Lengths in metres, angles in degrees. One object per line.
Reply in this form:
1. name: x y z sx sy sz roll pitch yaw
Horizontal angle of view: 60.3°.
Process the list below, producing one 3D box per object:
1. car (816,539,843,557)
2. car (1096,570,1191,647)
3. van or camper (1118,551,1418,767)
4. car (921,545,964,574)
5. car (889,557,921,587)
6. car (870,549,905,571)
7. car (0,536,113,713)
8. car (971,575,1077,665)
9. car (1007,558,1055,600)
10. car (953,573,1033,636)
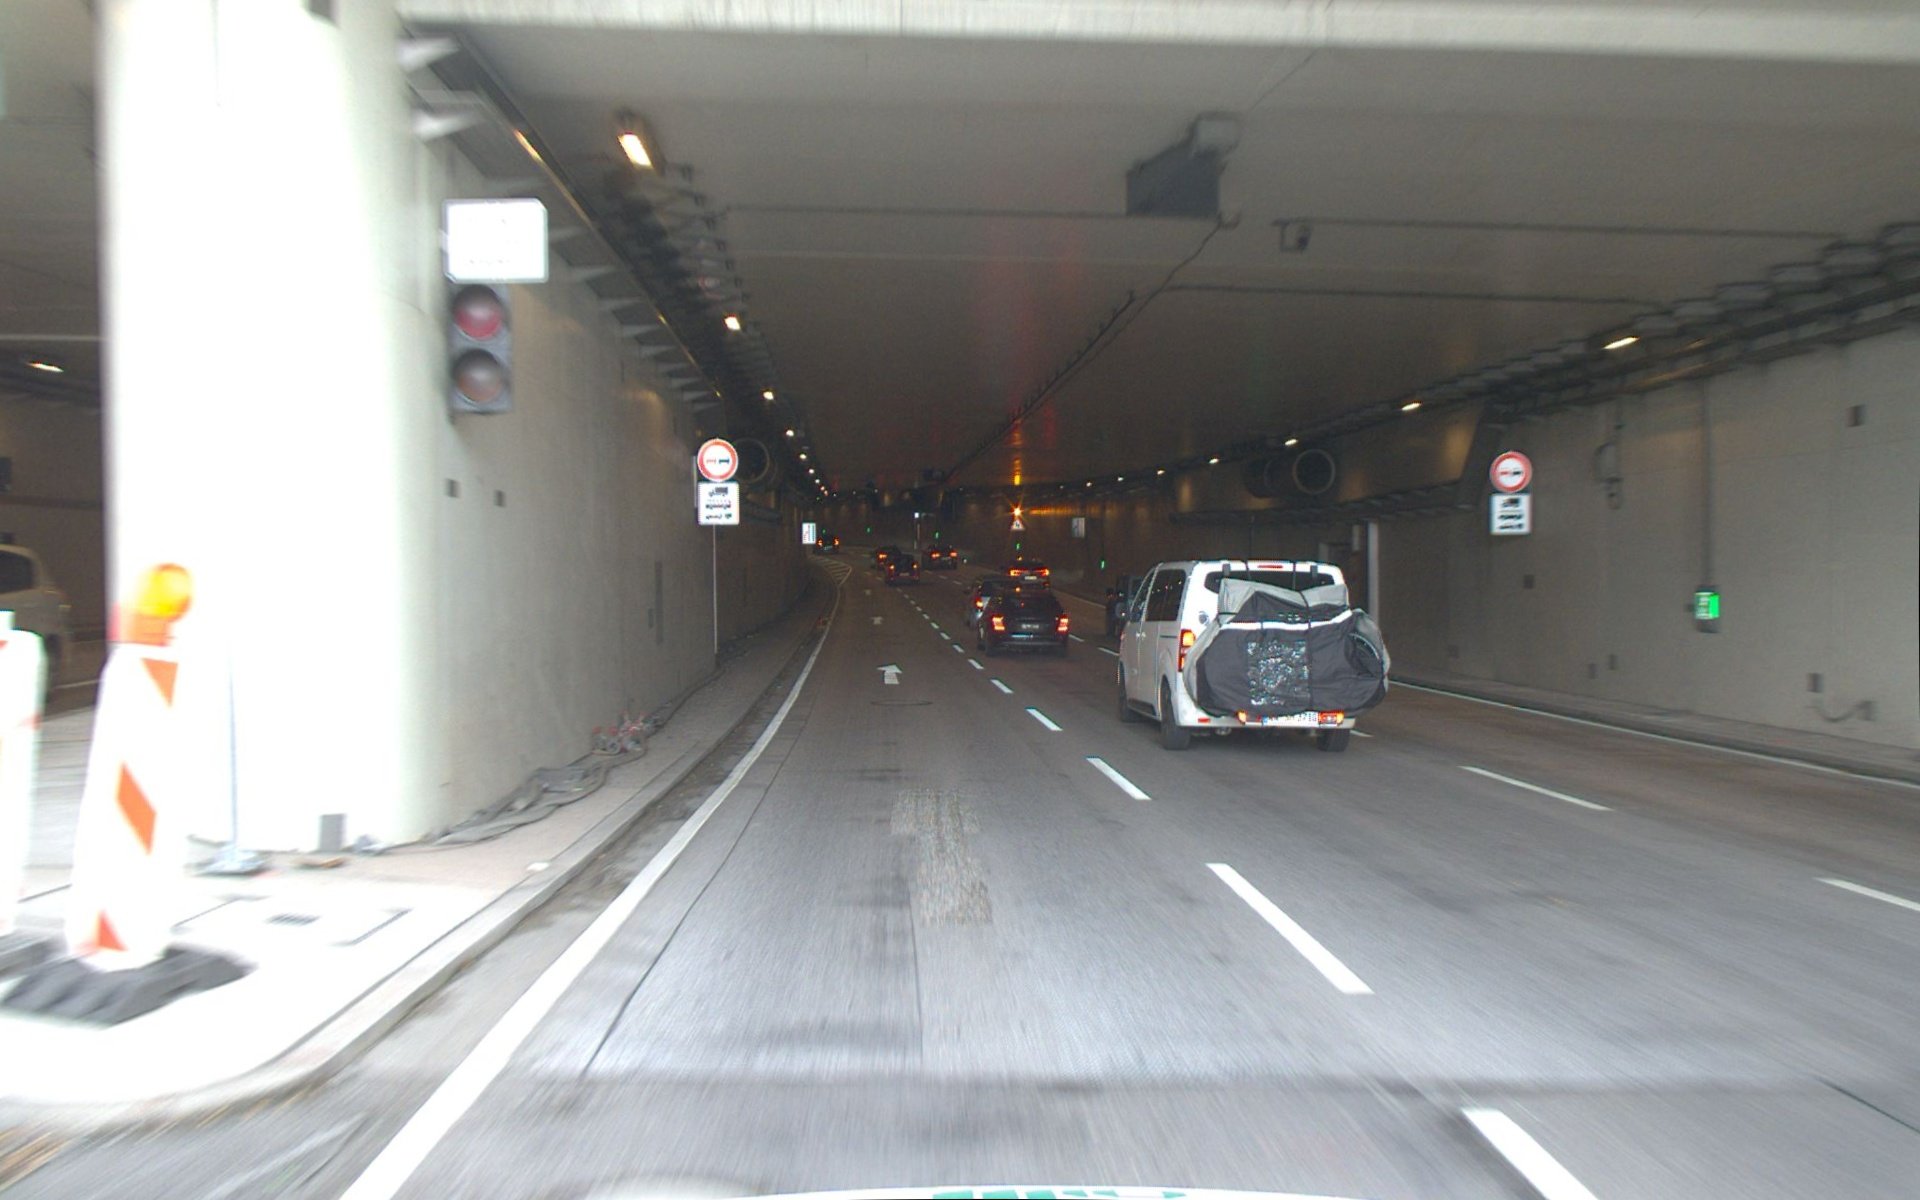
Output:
1. car: -9.967 -3.935 125.850 1.483 1.268 3.554 0 1 -14
2. car: 4.825 0.179 44.049 1.783 1.779 3.998 4 1 -3
3. van or camper: 2.999 0.519 17.424 1.953 1.877 5.506 1 0 -2
4. car: -1.081 -2.453 100.798 1.954 1.705 4.498 0 0 -10
5. car: -2.841 -1.422 85.012 1.627 1.514 3.565 0 0 -3
6. car: -4.447 -2.426 101.096 1.634 1.269 3.558 0 0 -11
7. car: -9.727 0.240 15.066 1.772 1.632 4.785 0 2 -3
8. car: 1.300 0.383 35.304 1.783 1.713 3.997 1 2 -4
9. car: 3.042 -0.922 71.330 1.627 1.662 3.566 4 1 -3
10. car: 0.915 0.100 48.363 1.784 1.607 3.996 4 2 -6
